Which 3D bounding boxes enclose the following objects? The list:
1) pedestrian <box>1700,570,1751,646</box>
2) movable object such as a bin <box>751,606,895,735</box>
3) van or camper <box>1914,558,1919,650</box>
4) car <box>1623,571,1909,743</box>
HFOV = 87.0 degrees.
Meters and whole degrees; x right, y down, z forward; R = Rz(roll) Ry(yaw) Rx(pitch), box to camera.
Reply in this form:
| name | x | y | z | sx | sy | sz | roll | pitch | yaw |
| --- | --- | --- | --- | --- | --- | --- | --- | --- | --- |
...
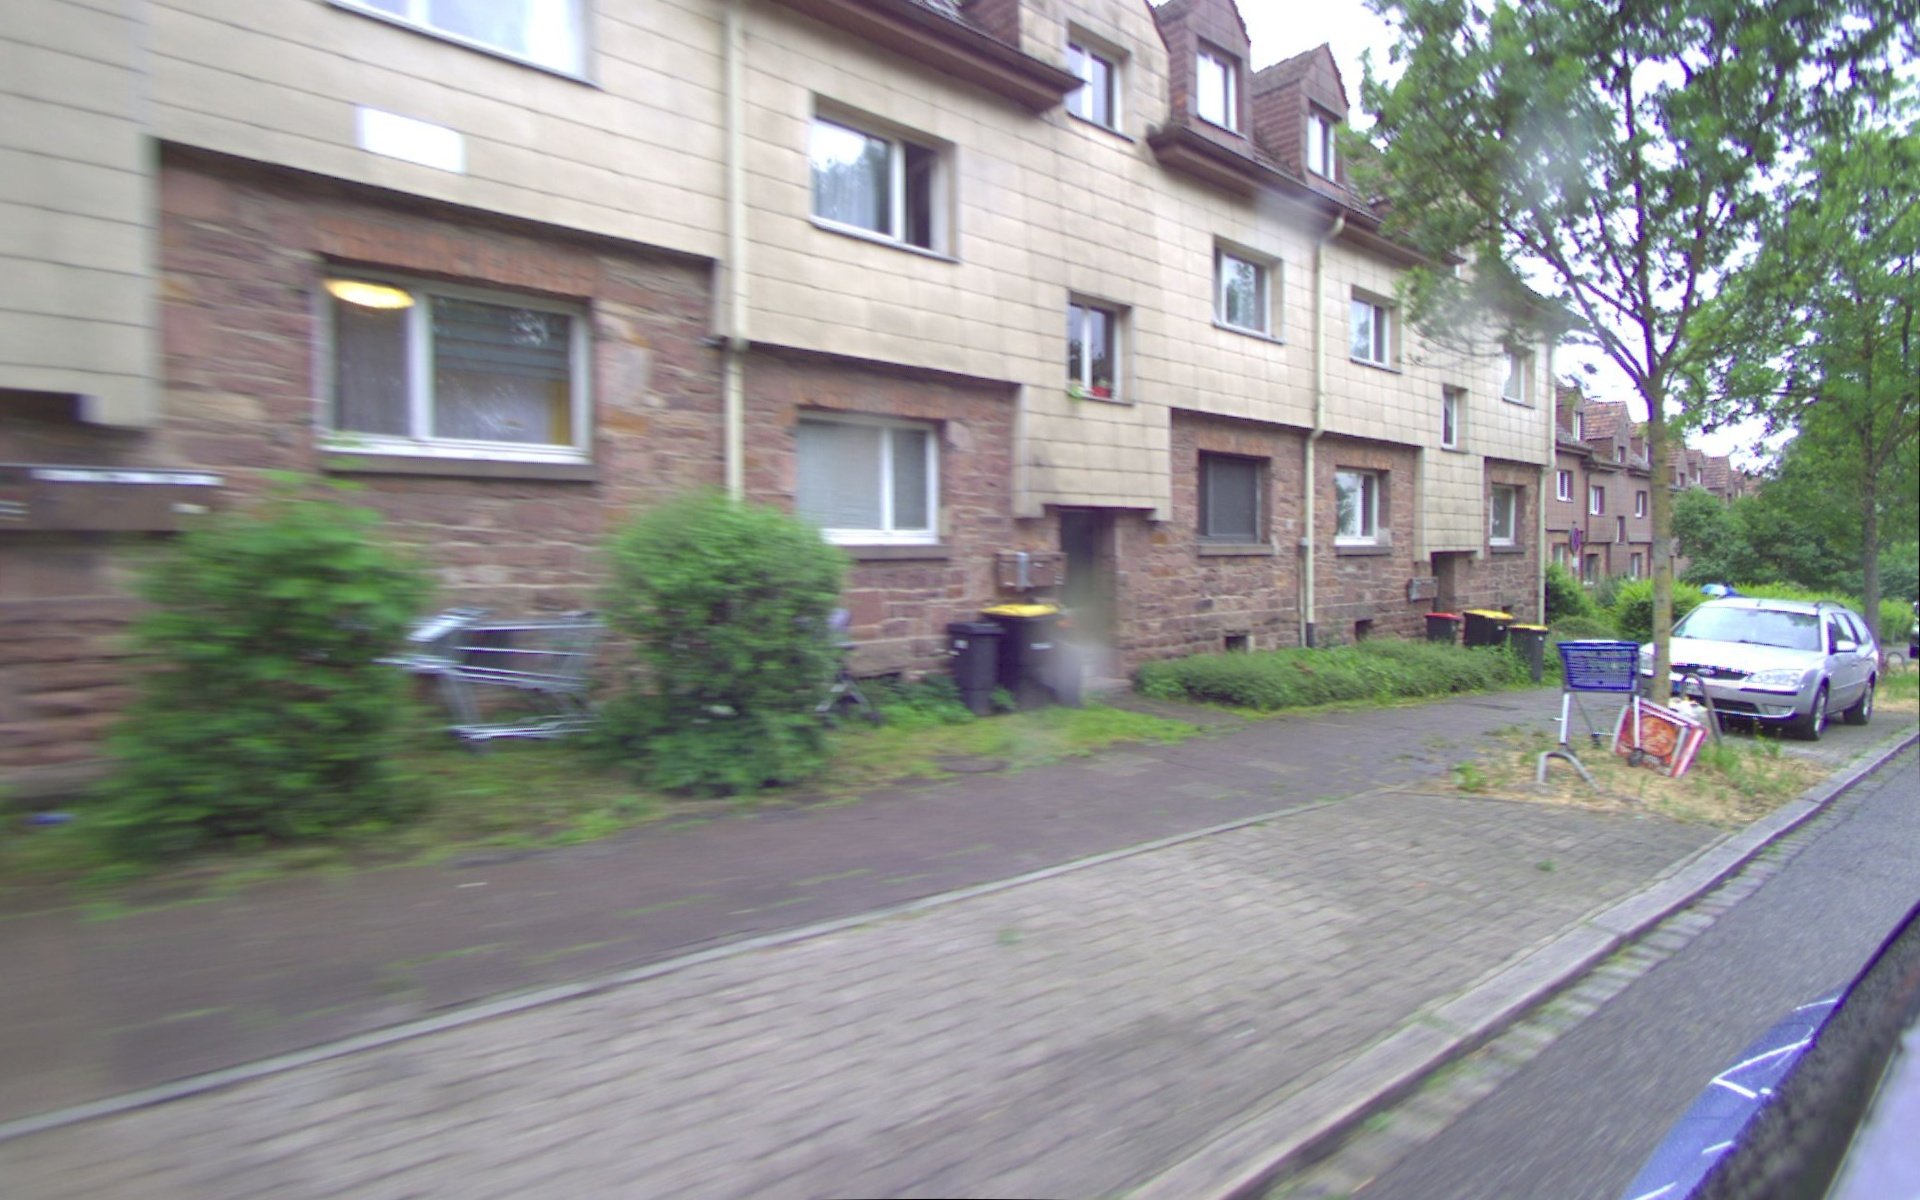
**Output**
| name | x | y | z | sx | sy | sz | roll | pitch | yaw |
| --- | --- | --- | --- | --- | --- | --- | --- | --- | --- |
| pedestrian | 17.559 | 0.178 | 23.207 | 0.641 | 1.700 | 0.710 | 2 | 1 | -35 |
| movable object such as a bin | -1.119 | 0.544 | 8.291 | 0.925 | 0.977 | 0.701 | 1 | -1 | -41 |
| van or camper | 30.645 | 0.209 | 30.289 | 7.172 | 2.684 | 2.203 | 1 | 2 | -41 |
| car | 9.787 | 0.592 | 12.153 | 4.559 | 1.603 | 1.707 | 2 | 4 | -40 |
